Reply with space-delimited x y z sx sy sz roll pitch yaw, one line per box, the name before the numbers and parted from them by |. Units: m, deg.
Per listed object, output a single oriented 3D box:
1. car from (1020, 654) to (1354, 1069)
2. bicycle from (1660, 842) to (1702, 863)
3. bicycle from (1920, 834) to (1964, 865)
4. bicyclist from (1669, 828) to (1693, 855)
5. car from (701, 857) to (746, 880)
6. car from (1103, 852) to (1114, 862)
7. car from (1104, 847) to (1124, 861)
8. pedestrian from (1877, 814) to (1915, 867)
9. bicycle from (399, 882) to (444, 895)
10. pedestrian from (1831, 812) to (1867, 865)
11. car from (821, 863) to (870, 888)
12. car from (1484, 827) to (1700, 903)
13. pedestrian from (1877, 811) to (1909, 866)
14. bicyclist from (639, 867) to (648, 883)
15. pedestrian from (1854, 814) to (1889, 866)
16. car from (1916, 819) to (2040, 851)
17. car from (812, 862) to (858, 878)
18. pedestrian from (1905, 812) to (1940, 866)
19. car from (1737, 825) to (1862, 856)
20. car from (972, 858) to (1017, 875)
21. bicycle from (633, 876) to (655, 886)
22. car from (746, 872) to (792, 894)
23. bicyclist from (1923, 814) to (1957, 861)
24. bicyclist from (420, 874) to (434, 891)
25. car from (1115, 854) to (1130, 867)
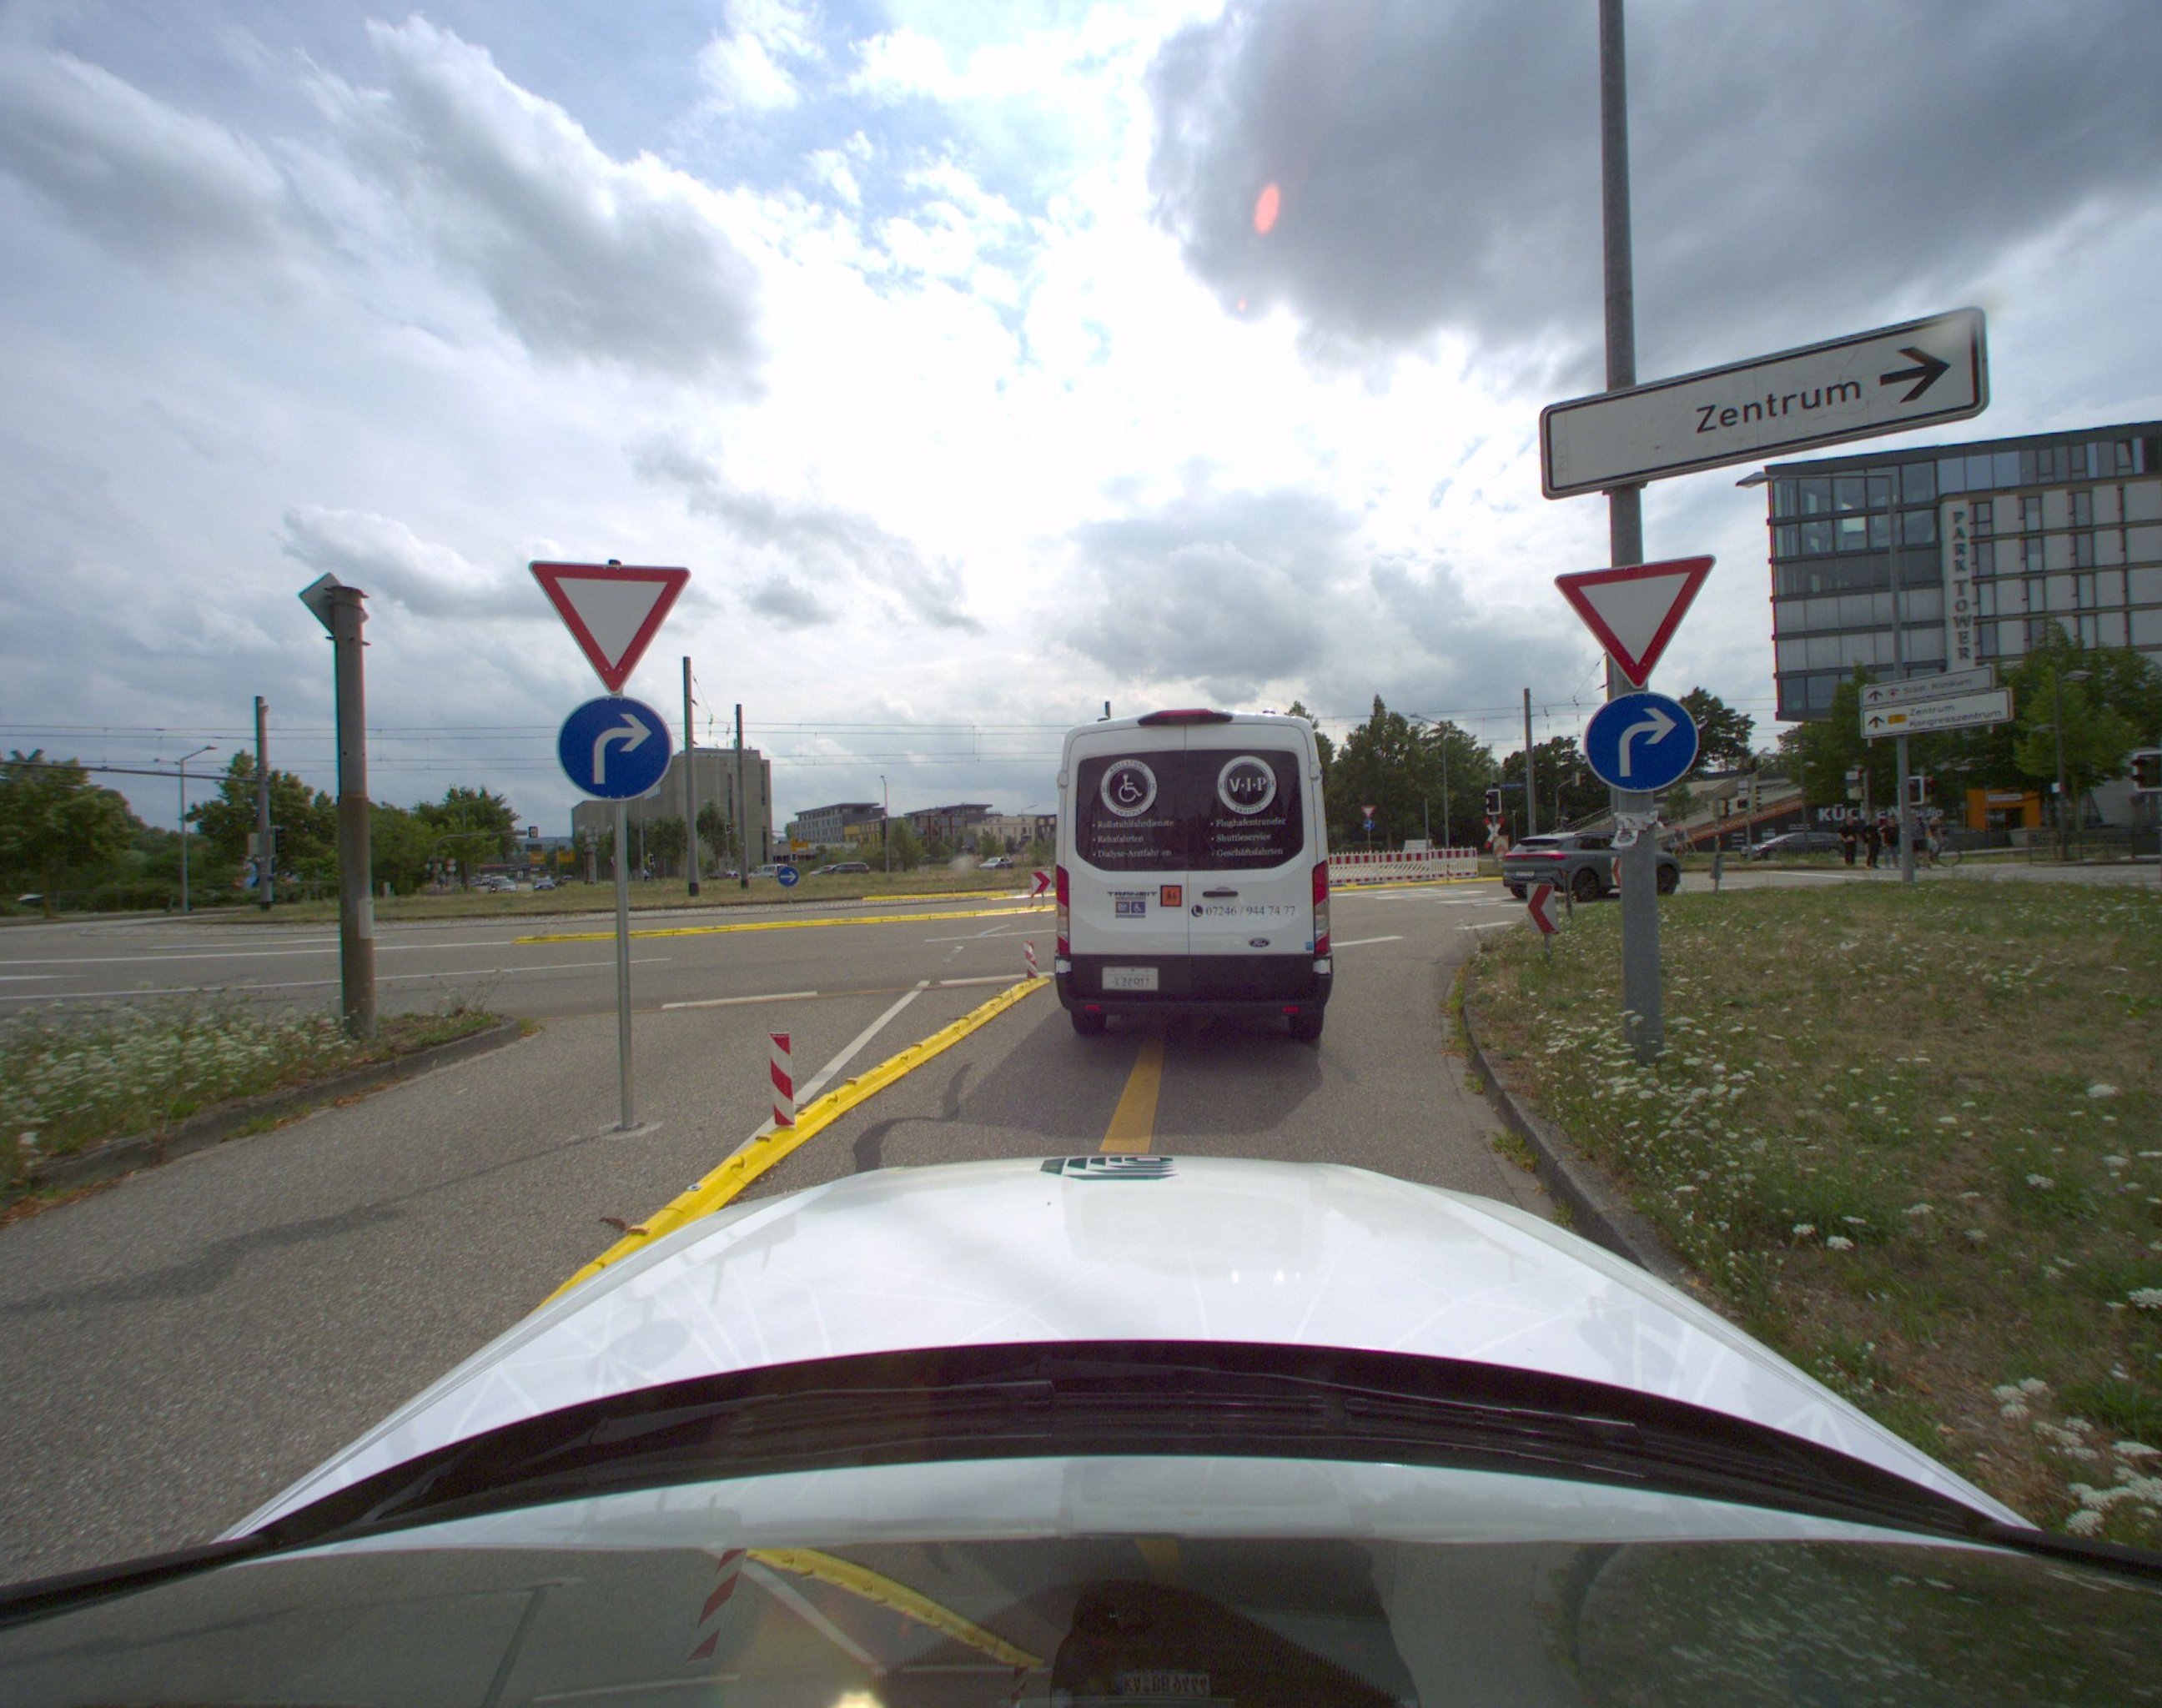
car | 1.044 0.080 8.238 2.115 2.697 5.643 -2 0 7
bicycle | 29.927 -0.054 40.632 0.651 1.007 1.753 -2 0 -6
bicycle | 29.888 -0.166 28.286 0.542 1.058 1.724 -2 0 29
bicyclist | 29.921 -0.614 40.615 0.637 1.317 0.673 -2 0 -7
car | -32.578 1.326 74.168 3.948 2.014 2.013 -2 -2 35
car | 5.740 0.628 171.277 1.983 1.849 4.006 -1 -1 6
car | 4.462 0.025 108.973 1.980 1.849 4.013 -2 -1 12
pedestrian | 27.590 -0.454 27.568 0.684 1.781 0.554 -2 0 5
bicycle | -54.153 2.833 66.896 0.853 0.855 2.676 -2 0 35
pedestrian | 26.683 -0.533 28.287 0.684 1.781 0.554 -2 0 5
car | -20.553 1.890 71.183 3.992 2.014 1.990 -1 -2 -14
car | 12.225 0.220 19.518 4.476 1.551 2.050 -2 0 -20
pedestrian | 28.142 -0.546 28.223 0.527 1.862 0.554 -2 0 5
bicyclist | -43.280 2.094 80.638 0.650 1.558 0.527 -2 0 -20
pedestrian | 27.407 -0.477 28.232 0.628 1.781 0.554 -2 0 5
car | 46.022 -0.940 41.873 3.959 1.458 1.855 -2 0 13
car | -24.125 1.547 79.899 3.952 1.464 1.843 -2 -2 22
pedestrian | 28.340 -0.491 27.426 0.576 1.781 0.554 -2 0 5
car | 38.226 -0.686 43.437 4.690 1.458 1.855 -2 0 12
car | -8.393 1.224 79.143 1.810 1.463 4.024 -3 -1 44
bicycle | -43.266 2.676 80.617 1.835 0.877 0.527 -2 0 -20
car | -29.829 2.815 77.791 4.305 2.014 2.013 -2 -2 35
bicyclist | 29.909 -0.573 28.362 0.553 1.580 0.770 -2 0 29
bicyclist | -53.987 2.345 67.209 0.853 1.409 0.678 -2 0 35
car | 6.315 1.016 124.208 1.983 1.849 4.007 -1 -1 7
